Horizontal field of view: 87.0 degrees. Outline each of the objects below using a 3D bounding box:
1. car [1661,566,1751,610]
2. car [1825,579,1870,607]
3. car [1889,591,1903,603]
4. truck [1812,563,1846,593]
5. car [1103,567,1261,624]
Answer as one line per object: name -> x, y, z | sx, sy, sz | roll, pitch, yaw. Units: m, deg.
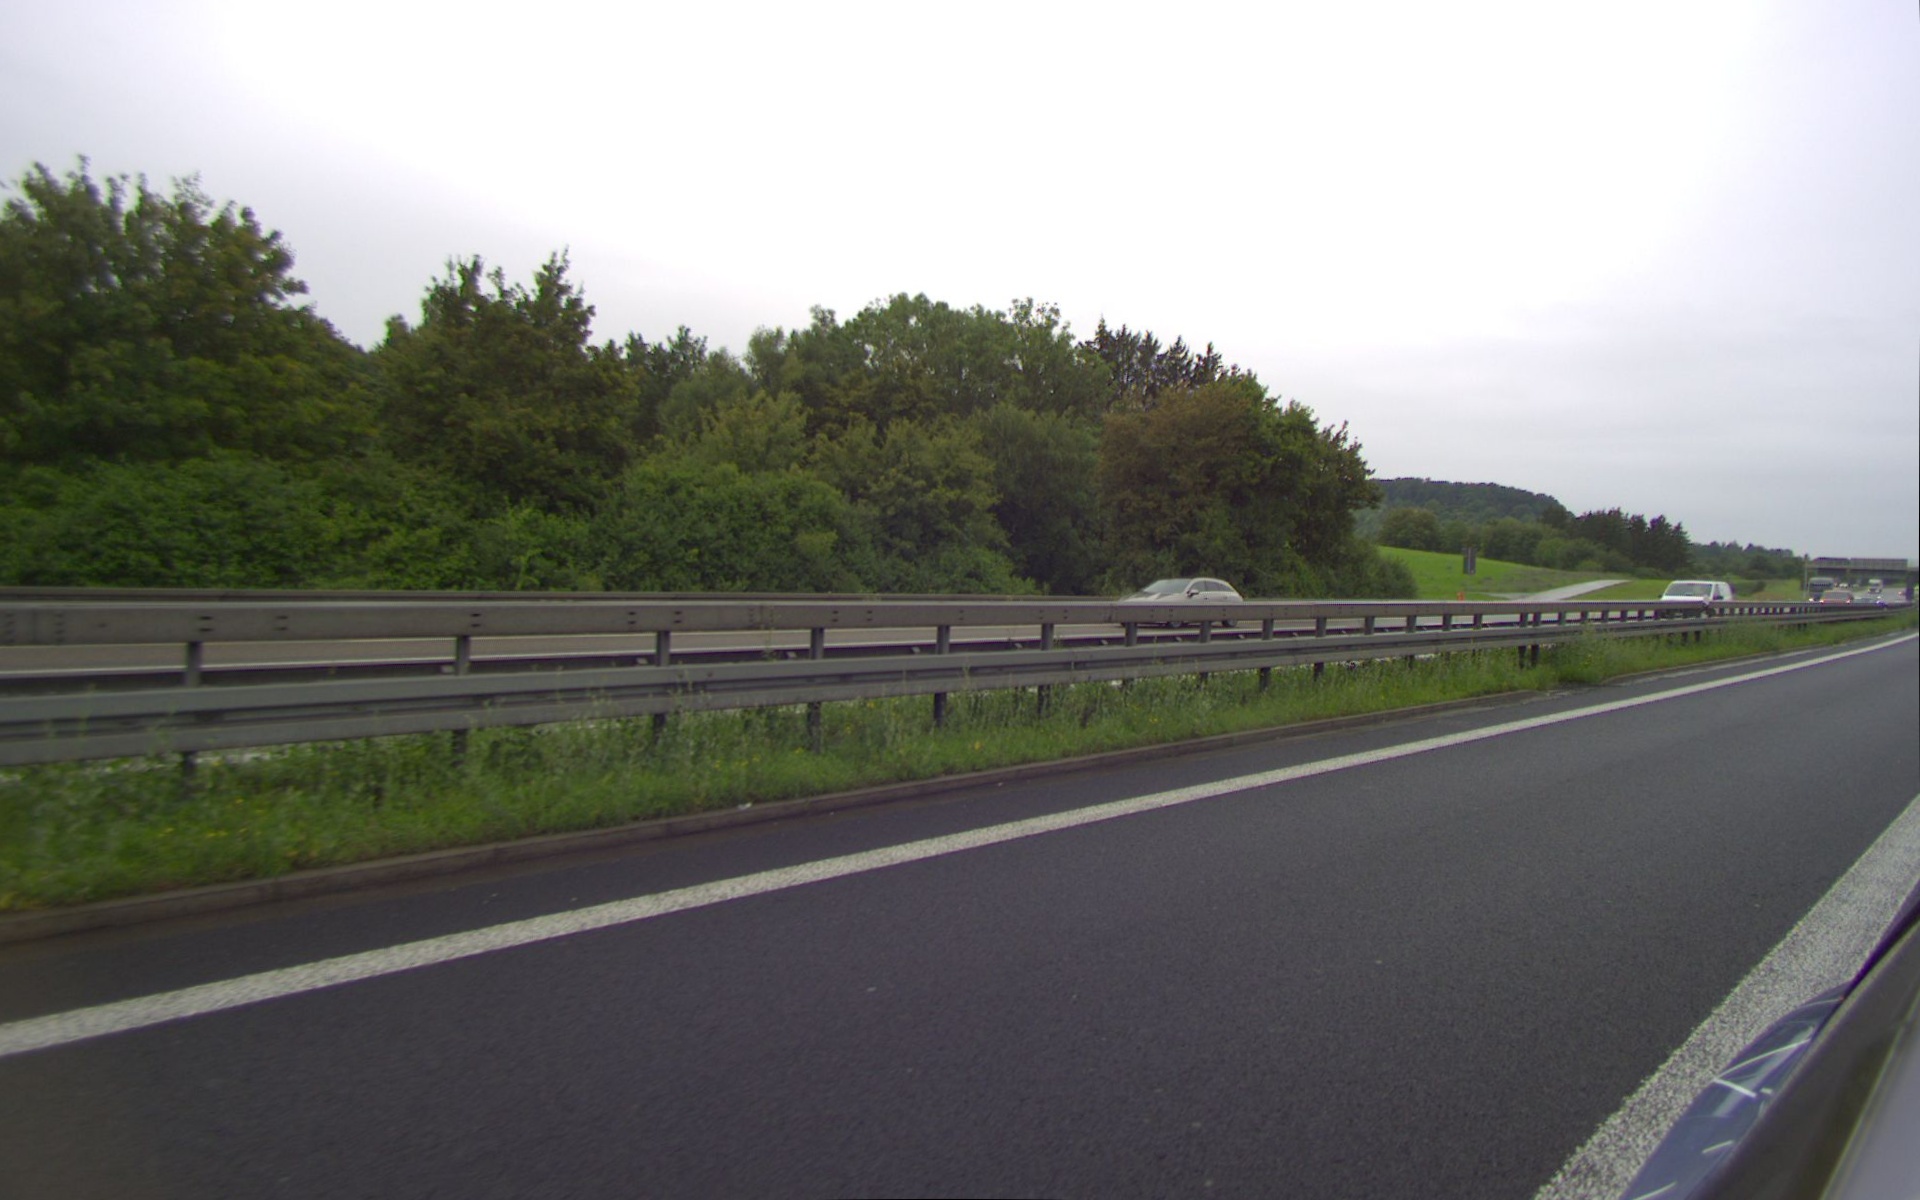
car -> 30.669, -0.503, 41.545 | 4.635, 1.714, 1.913 | 0, 1, -40
car -> 68.942, -0.567, 78.590 | 4.993, 2.039, 2.126 | -1, 2, -44
car -> 162.059, -0.533, 175.229 | 1.746, 2.039, 4.431 | 1, 1, 41
truck -> 117.657, -2.923, 136.952 | 2.792, 3.949, 9.869 | 1, 1, 44
car -> 6.286, -0.157, 28.426 | 4.626, 1.473, 1.903 | 0, 2, -40
